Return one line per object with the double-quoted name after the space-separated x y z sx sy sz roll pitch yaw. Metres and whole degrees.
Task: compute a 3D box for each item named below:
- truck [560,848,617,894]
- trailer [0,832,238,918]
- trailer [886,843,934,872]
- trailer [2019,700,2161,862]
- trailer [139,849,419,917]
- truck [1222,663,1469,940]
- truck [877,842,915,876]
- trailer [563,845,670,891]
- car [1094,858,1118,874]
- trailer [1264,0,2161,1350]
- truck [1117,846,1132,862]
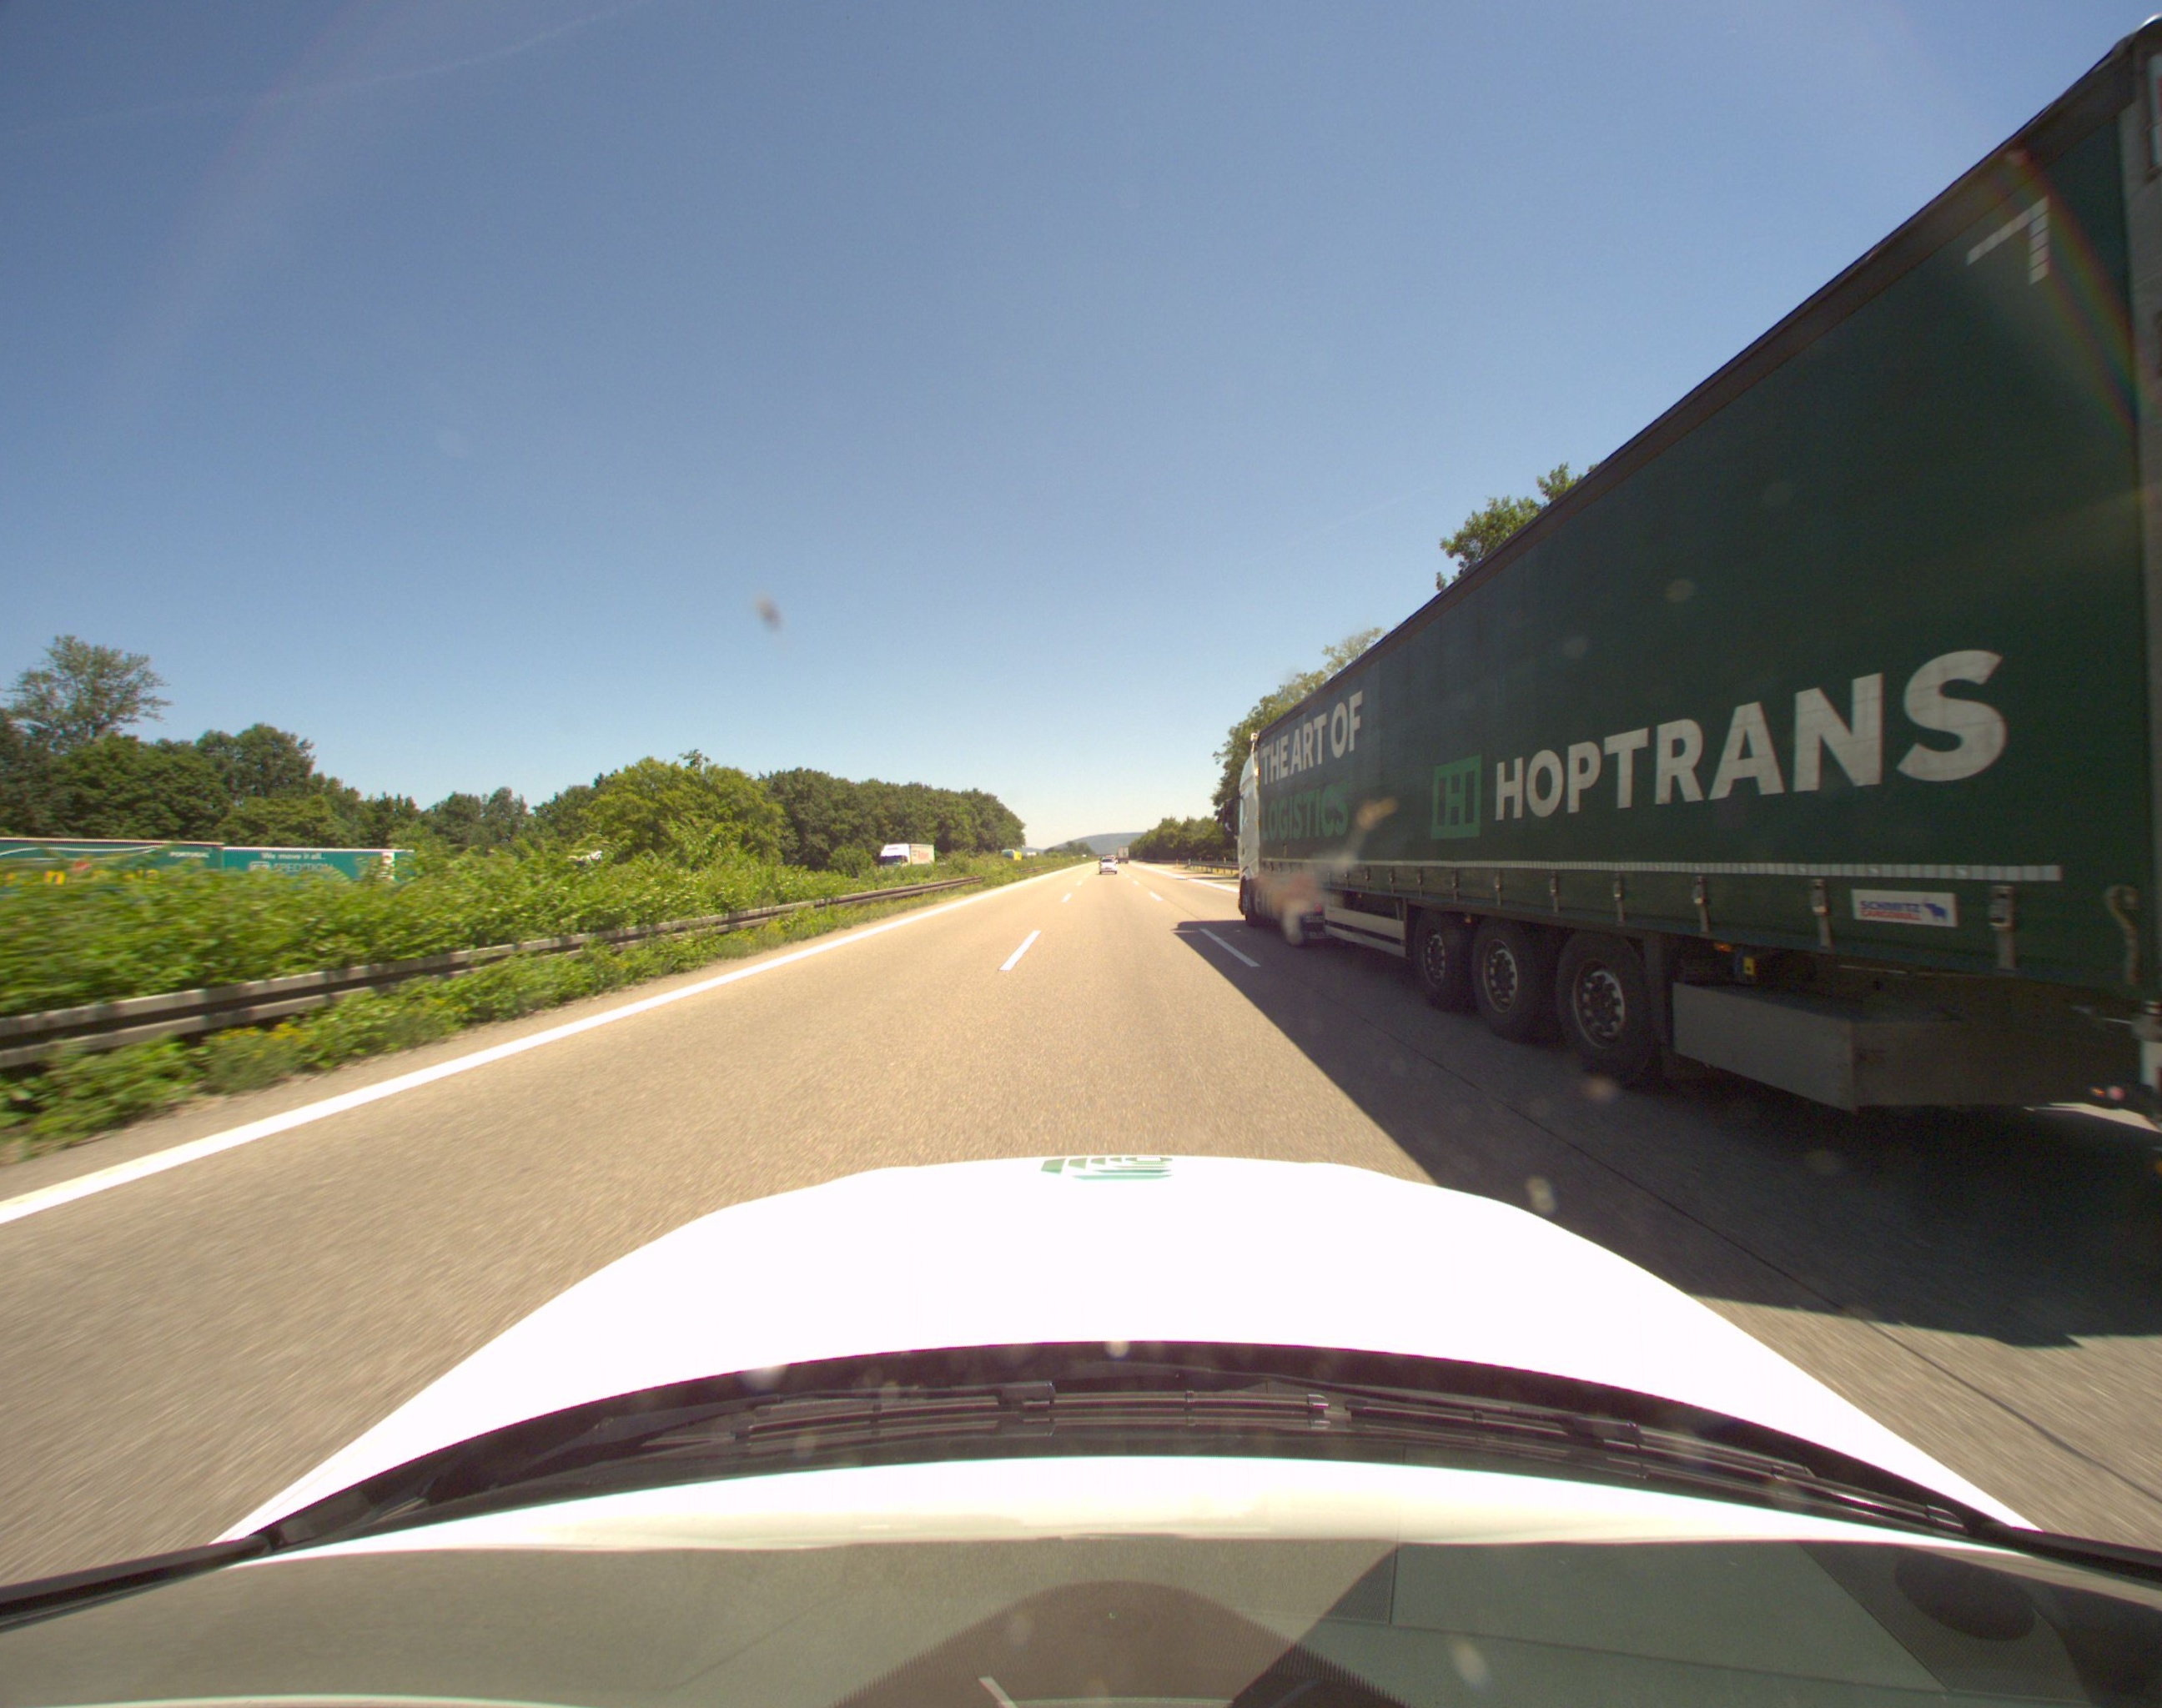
-42.827 1.440 70.931 2.242 3.870 3.810 -2 0 7 "truck"
-47.633 0.946 37.897 1.985 3.728 13.605 -2 0 3 "trailer"
-18.014 0.360 86.574 2.551 2.779 10.953 -2 0 1 "trailer"
28.084 -1.863 15.840 3.126 3.952 14.191 -2 0 -1 "trailer"
-53.910 1.720 56.007 2.949 3.994 14.942 -2 0 8 "trailer"
4.982 -0.881 16.749 3.171 4.607 5.949 -1 0 1 "truck"
-18.122 0.490 79.936 2.564 3.144 4.264 -2 0 1 "truck"
-42.158 1.169 74.517 2.278 3.870 10.729 -2 0 8 "trailer"
2.348 1.081 77.148 1.809 1.405 3.311 -2 0 -5 "car"
4.758 -0.904 8.218 3.171 4.627 12.051 -2 0 1 "trailer"
10.606 -0.092 200.237 3.313 3.756 12.800 -1 0 2 "truck"
